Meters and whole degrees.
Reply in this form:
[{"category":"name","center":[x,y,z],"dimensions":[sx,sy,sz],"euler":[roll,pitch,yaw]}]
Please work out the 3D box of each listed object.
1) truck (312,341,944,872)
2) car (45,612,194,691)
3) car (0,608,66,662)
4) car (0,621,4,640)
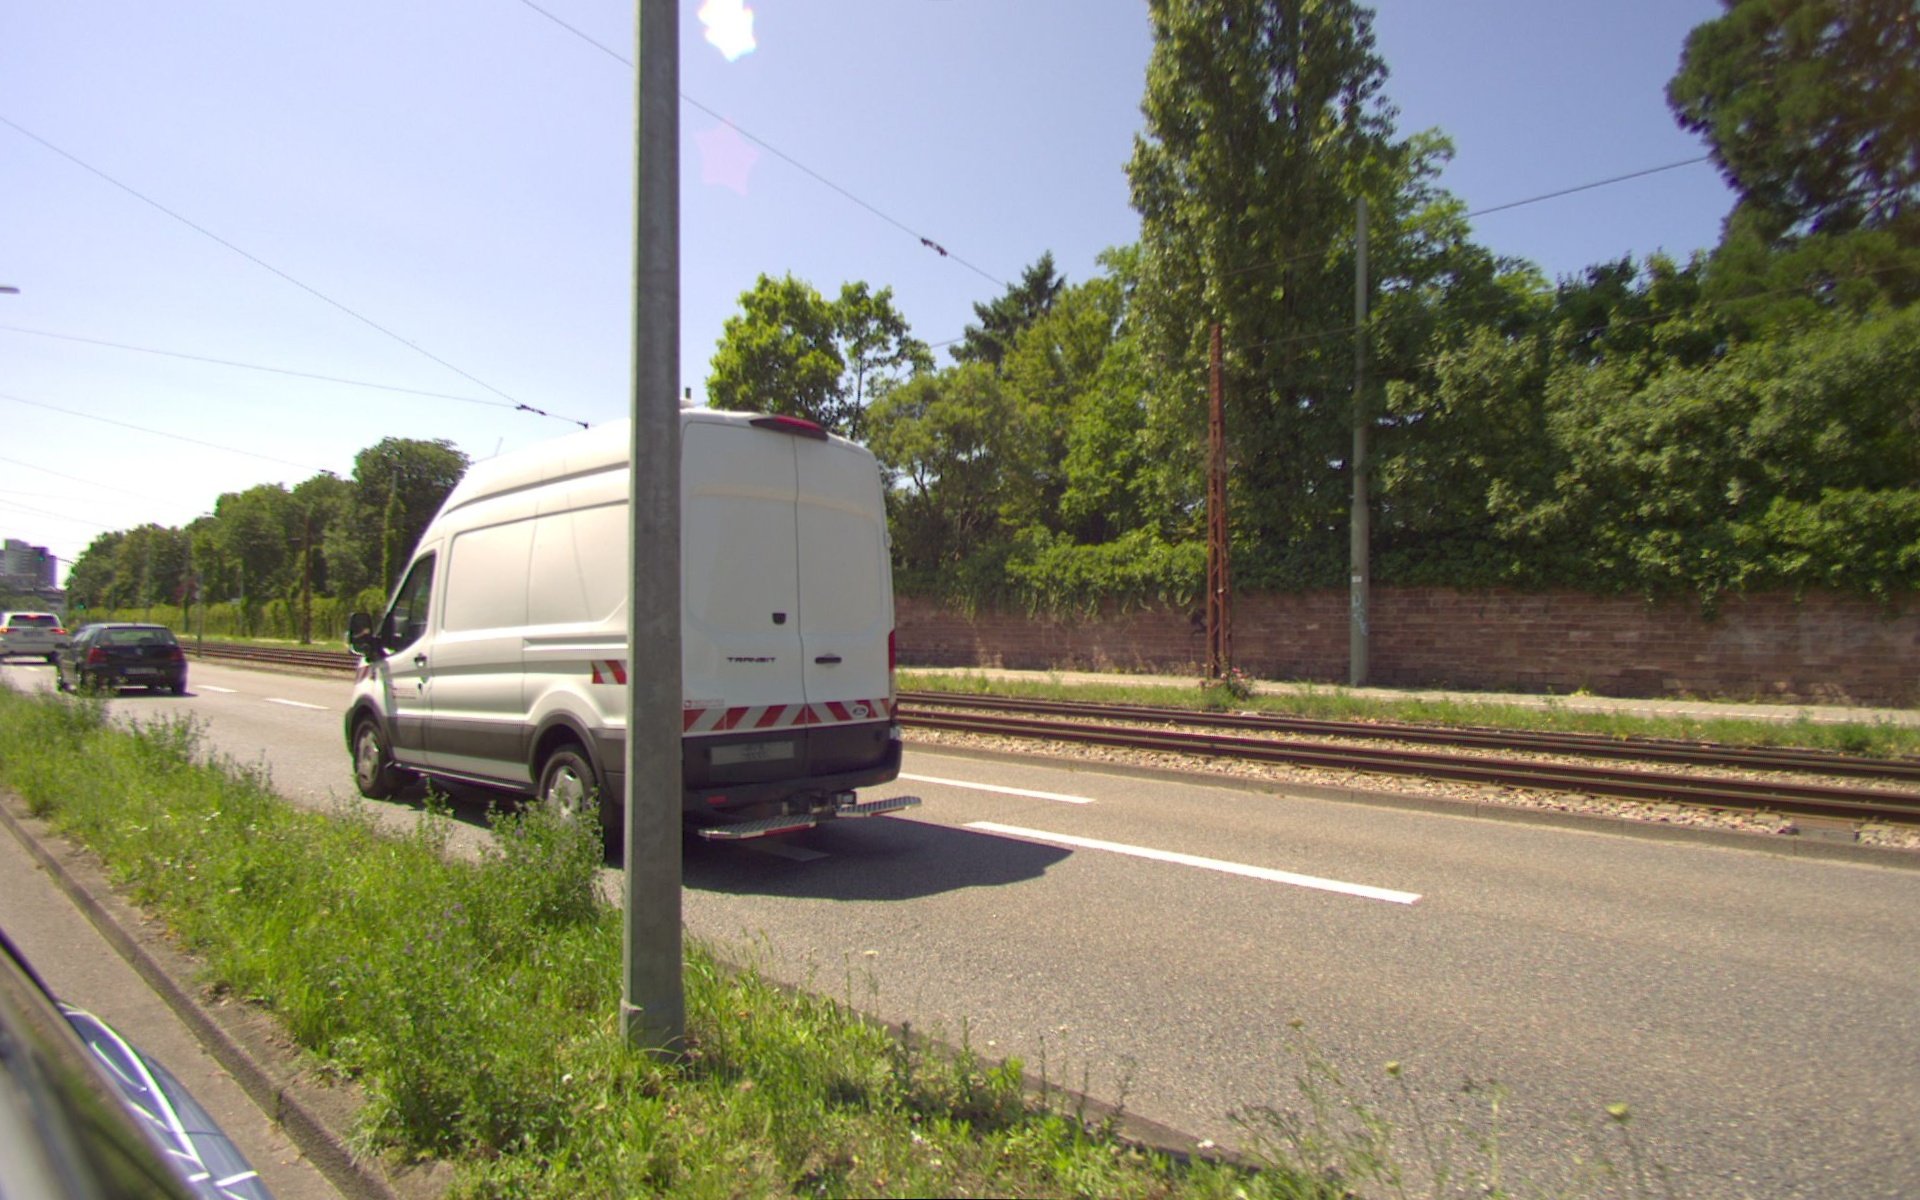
[{"category":"truck","center":[-2.884,0.106,7.877],"dimensions":[5.543,2.769,2.060],"euler":[-1,-3,41]},{"category":"car","center":[-17.241,1.018,20.714],"dimensions":[3.911,1.470,1.698],"euler":[-1,-3,41]},{"category":"car","center":[-32.827,1.206,35.328],"dimensions":[4.586,1.761,1.880],"euler":[-1,-2,42]},{"category":"car","center":[-77.293,2.385,80.479],"dimensions":[3.792,1.482,1.675],"euler":[-1,-3,44]}]
